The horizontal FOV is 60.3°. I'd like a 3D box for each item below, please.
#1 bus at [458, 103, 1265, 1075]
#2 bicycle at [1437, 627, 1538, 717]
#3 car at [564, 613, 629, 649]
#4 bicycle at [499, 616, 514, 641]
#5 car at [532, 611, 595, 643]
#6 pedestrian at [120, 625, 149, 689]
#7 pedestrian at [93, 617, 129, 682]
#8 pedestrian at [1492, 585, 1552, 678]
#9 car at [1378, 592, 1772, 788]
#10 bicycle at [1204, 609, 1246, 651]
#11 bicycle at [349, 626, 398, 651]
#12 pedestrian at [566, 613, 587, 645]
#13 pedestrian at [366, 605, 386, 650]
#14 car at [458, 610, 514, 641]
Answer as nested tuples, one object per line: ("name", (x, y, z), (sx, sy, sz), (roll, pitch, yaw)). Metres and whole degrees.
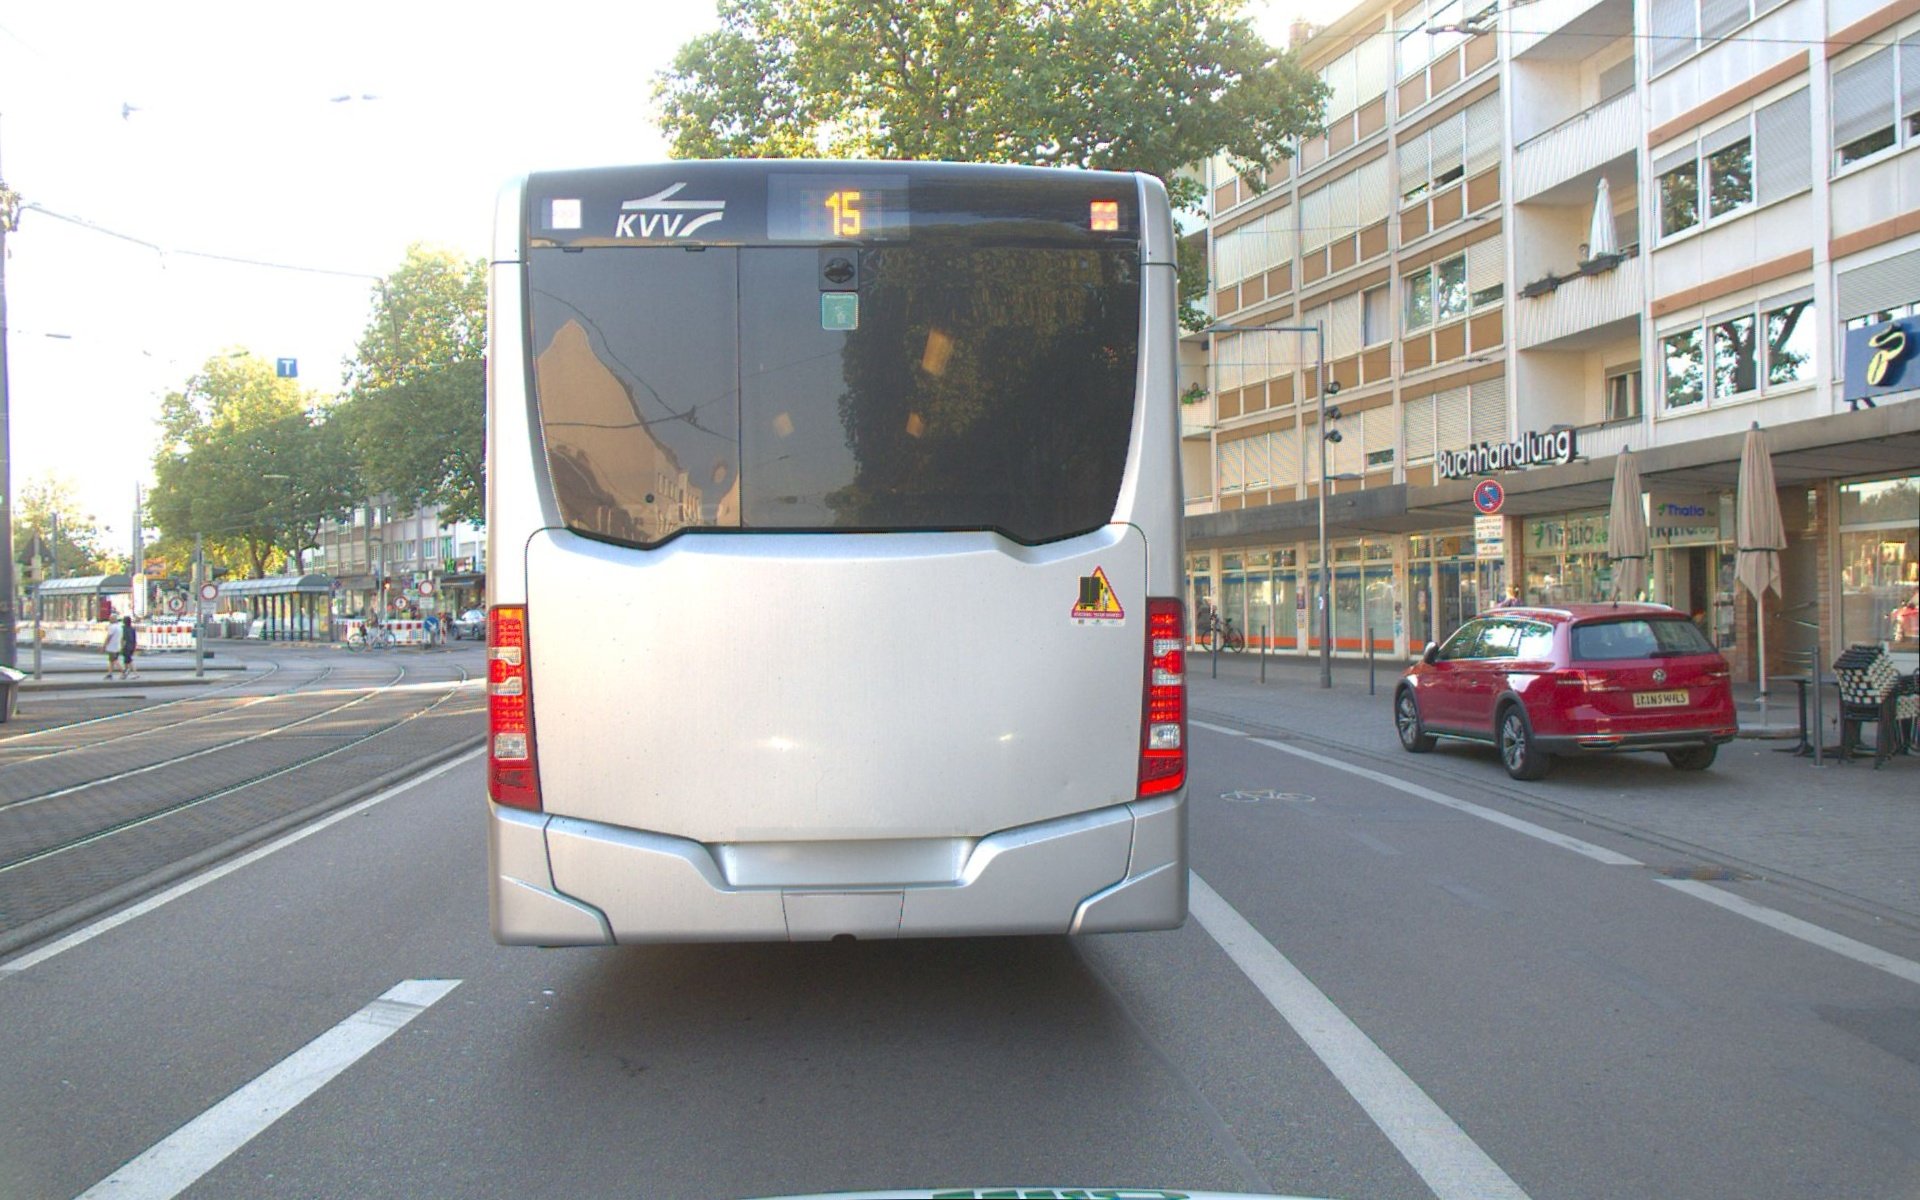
("bus", (-0.536, -0.010, 10.536), (2.605, 3.153, 10.210), (-1, -1, -3))
("bicycle", (6.881, 0.918, 21.647), (0.502, 1.089, 1.657), (-3, 0, -10))
("car", (-17.001, 1.422, 77.317), (1.650, 1.542, 3.367), (-4, 2, -37))
("bicycle", (-23.166, 1.455, 84.492), (0.500, 1.232, 2.079), (-1, 0, -21))
("car", (-19.335, 1.304, 80.593), (1.652, 1.419, 3.364), (-5, 2, -39))
("pedestrian", (-20.039, 1.372, 40.154), (0.399, 1.530, 0.518), (-1, 0, 8))
("pedestrian", (-20.295, 1.169, 39.564), (0.509, 1.530, 0.594), (-1, 0, 6))
("pedestrian", (9.782, 0.542, 28.786), (0.629, 1.579, 0.804), (-1, -1, -15))
("car", (5.684, 0.750, 15.984), (1.744, 1.522, 4.563), (-3, 0, -5))
("bicycle", (7.274, 0.828, 45.475), (0.431, 1.111, 1.453), (-3, 1, -20))
("bicycle", (-23.413, 1.522, 66.076), (1.812, 0.959, 0.461), (-1, 0, -19))
("pedestrian", (-15.893, 1.190, 68.546), (0.766, 1.326, 0.590), (-1, 0, -22))
("pedestrian", (-23.193, 1.086, 65.677), (0.709, 1.755, 0.397), (-1, 0, -19))
("car", (-25.109, 1.346, 87.563), (1.651, 1.494, 3.365), (-5, 2, -38))
